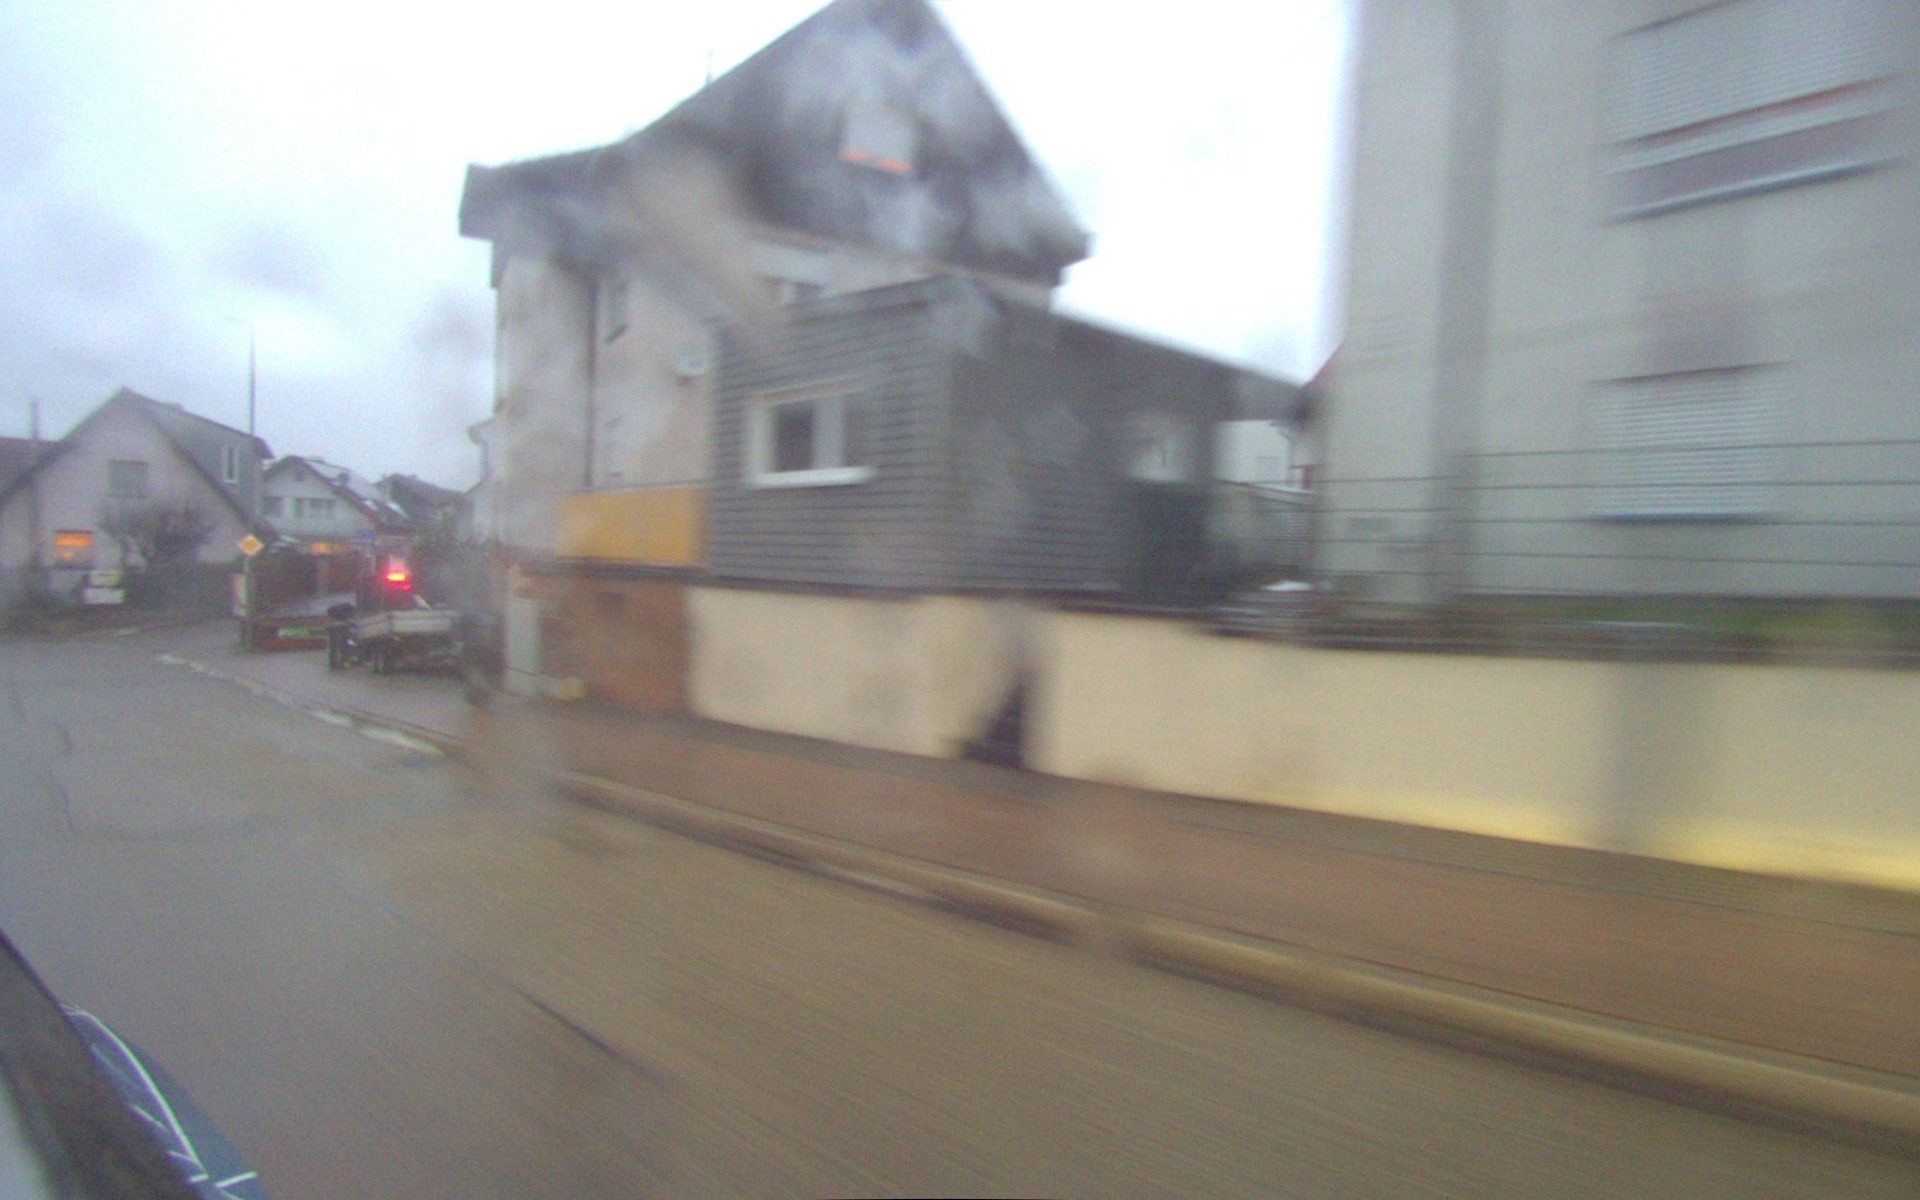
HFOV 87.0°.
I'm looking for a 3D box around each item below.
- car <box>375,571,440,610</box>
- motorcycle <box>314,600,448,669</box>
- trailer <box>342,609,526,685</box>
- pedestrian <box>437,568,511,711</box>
[{"bbox_3d":[-25.855,-0.488,47.505,1.966,1.643,4.013,-2,3,-18],"label":"car"},{"bbox_3d":[-12.158,0.703,21.334,2.202,1.308,1.059,-2,2,-10],"label":"motorcycle"},{"bbox_3d":[-10.010,0.794,19.043,2.033,1.177,4.875,0,0,-41],"label":"trailer"},{"bbox_3d":[-6.201,0.469,12.908,0.591,1.745,0.813,-2,3,-45],"label":"pedestrian"}]
